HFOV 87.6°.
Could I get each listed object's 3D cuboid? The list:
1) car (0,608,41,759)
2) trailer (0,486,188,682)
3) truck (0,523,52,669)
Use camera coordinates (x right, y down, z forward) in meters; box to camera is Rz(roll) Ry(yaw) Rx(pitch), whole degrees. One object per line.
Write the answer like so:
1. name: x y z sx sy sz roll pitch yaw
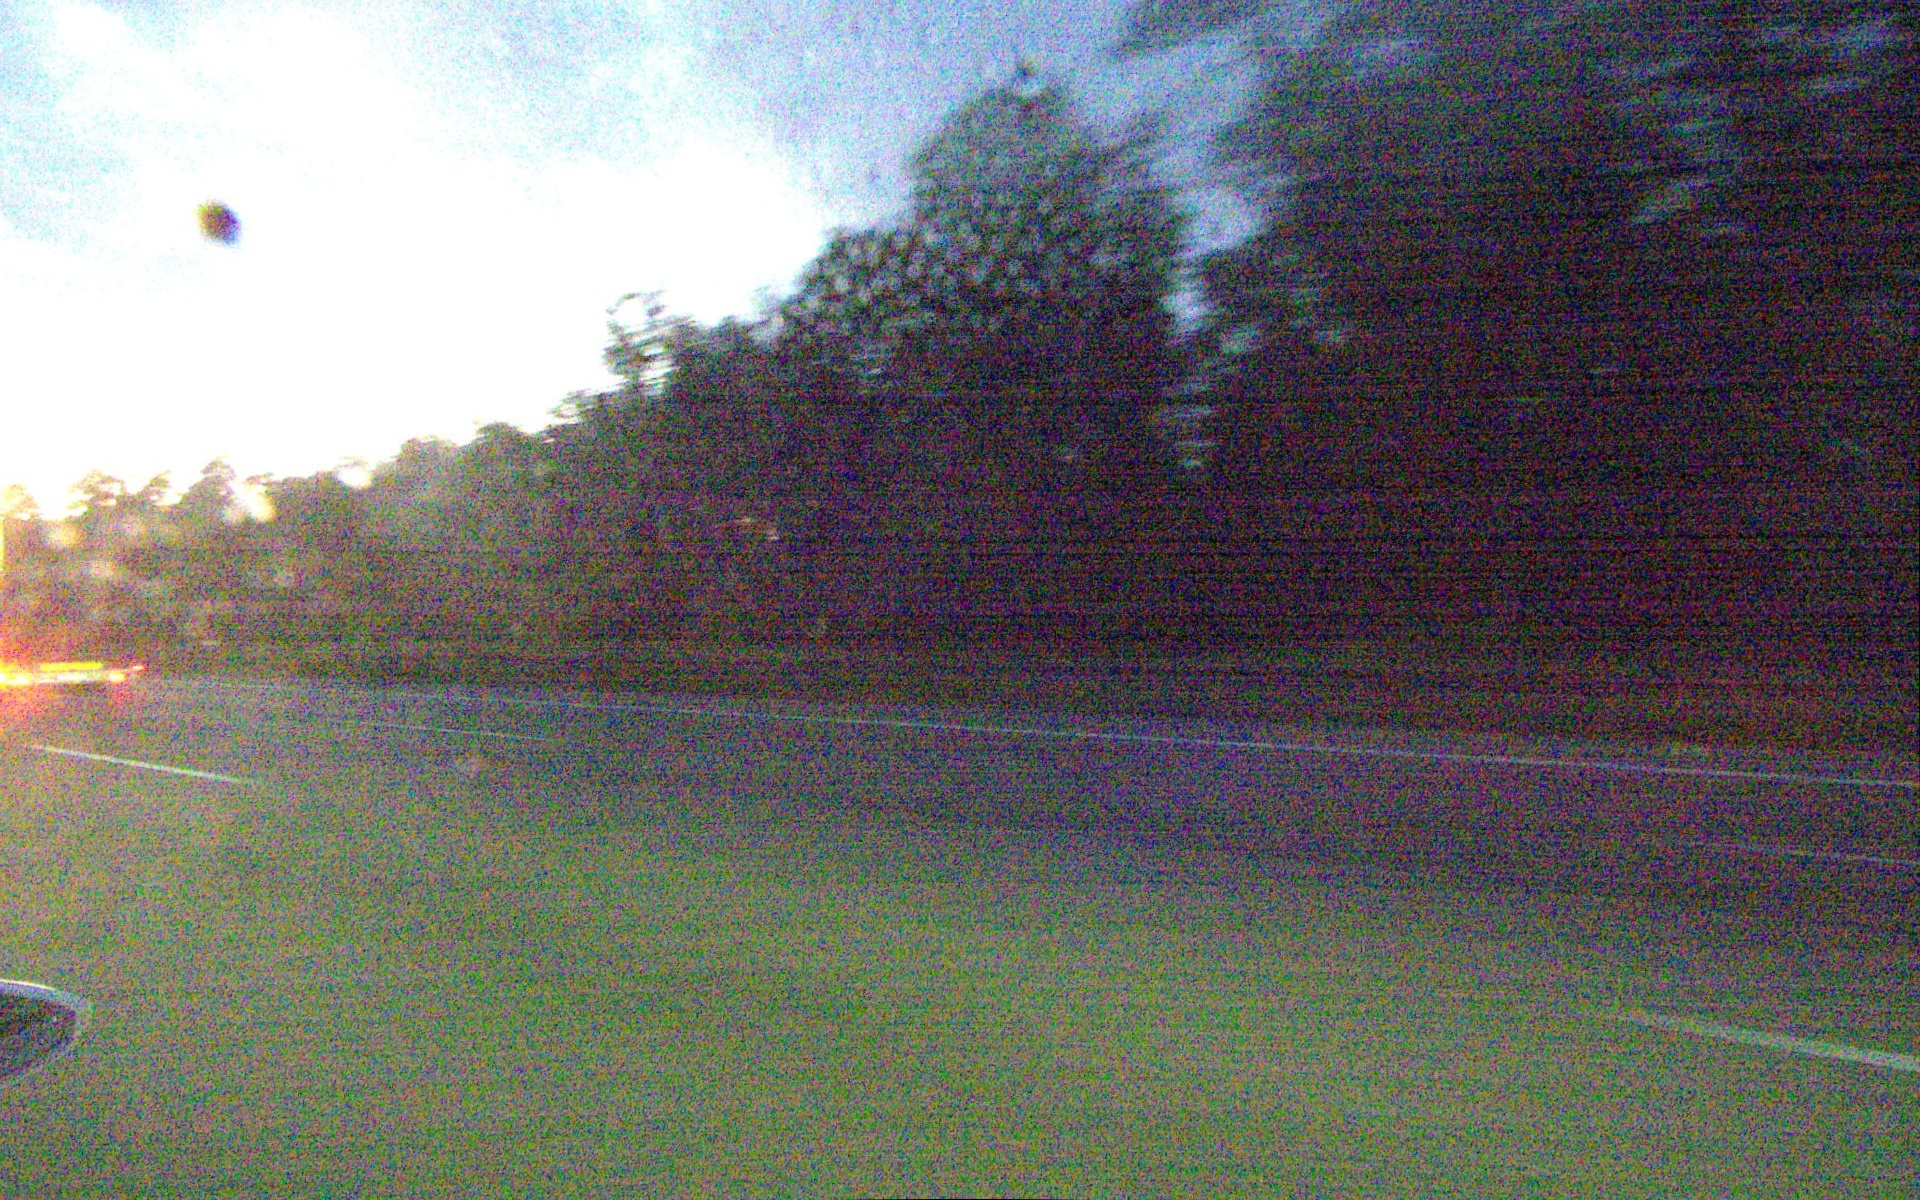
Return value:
1. car: -12.945 0.926 11.817 4.980 1.665 1.899 0 0 33
2. trailer: -23.214 -0.208 25.316 10.218 4.153 2.899 -1 -1 35
3. truck: -31.839 0.001 31.259 10.685 4.153 2.877 -1 -1 35
